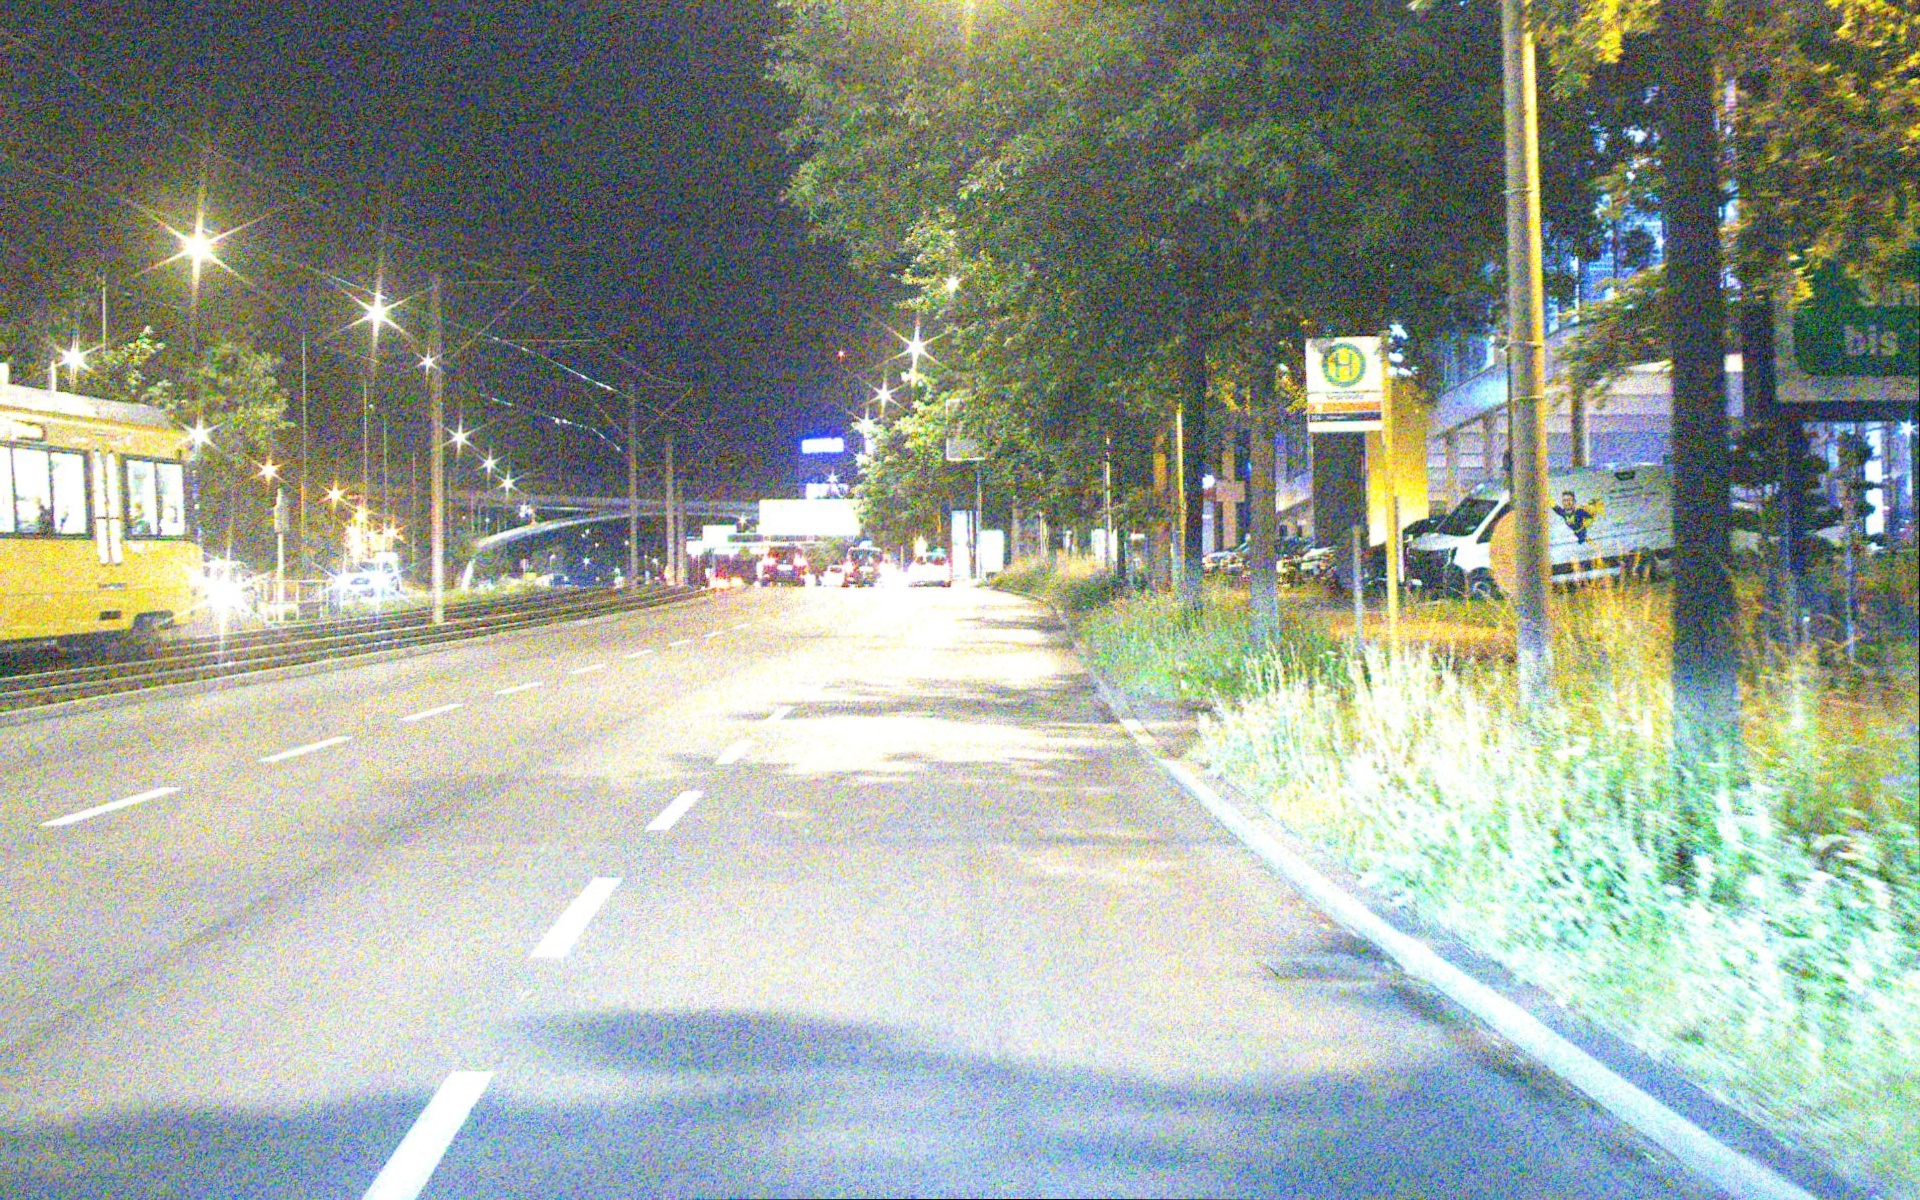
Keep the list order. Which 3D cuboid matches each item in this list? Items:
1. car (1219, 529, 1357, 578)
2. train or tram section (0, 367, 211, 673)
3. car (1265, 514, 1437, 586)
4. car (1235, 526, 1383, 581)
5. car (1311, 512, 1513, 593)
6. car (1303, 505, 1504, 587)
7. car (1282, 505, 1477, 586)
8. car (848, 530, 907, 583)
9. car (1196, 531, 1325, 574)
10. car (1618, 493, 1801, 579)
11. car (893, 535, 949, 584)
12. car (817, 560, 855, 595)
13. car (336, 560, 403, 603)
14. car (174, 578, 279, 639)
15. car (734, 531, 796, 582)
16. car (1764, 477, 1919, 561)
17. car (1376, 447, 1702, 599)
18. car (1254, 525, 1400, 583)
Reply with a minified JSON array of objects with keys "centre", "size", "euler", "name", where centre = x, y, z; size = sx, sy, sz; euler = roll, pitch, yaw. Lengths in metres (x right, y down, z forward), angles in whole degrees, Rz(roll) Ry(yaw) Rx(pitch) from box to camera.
[{"centre":[10.538,-1.513,110.416],"size":[3.986,1.387,1.827],"euler":[-3,2,-22],"name":"car"},{"centre":[-13.319,-1.029,44.814],"size":[2.758,3.814,18.670],"euler":[0,1,1],"name":"train or tram section"},{"centre":[10.369,-1.330,91.252],"size":[4.079,1.563,1.855],"euler":[-5,2,-11],"name":"car"},{"centre":[10.643,-1.428,104.984],"size":[4.022,1.369,1.826],"euler":[-5,1,-16],"name":"car"},{"centre":[10.541,-1.111,80.372],"size":[4.201,1.657,1.961],"euler":[-3,1,-11],"name":"car"},{"centre":[10.999,-1.350,85.400],"size":[4.459,1.804,2.001],"euler":[-3,1,-11],"name":"car"},{"centre":[10.743,-1.396,88.197],"size":[4.459,1.681,2.001],"euler":[-5,2,-11],"name":"car"},{"centre":[-3.320,-1.759,139.886],"size":[2.356,2.122,4.826],"euler":[0,0,-1],"name":"car"},{"centre":[10.363,-1.635,118.553],"size":[3.986,1.419,1.910],"euler":[-1,2,-18],"name":"car"},{"centre":[15.888,-1.333,73.058],"size":[1.805,1.706,3.968],"euler":[-2,0,-22],"name":"car"},{"centre":[-1.729,-1.768,151.684],"size":[2.427,2.106,4.826],"euler":[0,0,-1],"name":"car"},{"centre":[-6.574,-1.175,182.415],"size":[1.887,1.853,4.000],"euler":[0,0,-1],"name":"car"},{"centre":[-21.348,-0.663,124.391],"size":[1.660,1.511,3.910],"euler":[0,0,1],"name":"car"},{"centre":[-18.363,0.218,86.215],"size":[1.784,1.492,4.174],"euler":[0,-1,-1],"name":"car"},{"centre":[-7.733,-1.706,136.851],"size":[2.262,2.007,4.826],"euler":[0,0,-1],"name":"car"},{"centre":[19.319,-1.747,74.088],"size":[1.793,1.572,3.968],"euler":[-6,2,-22],"name":"car"},{"centre":[11.856,-1.584,70.455],"size":[6.015,2.520,2.284],"euler":[-6,2,-17],"name":"car"},{"centre":[10.640,-1.343,99.743],"size":[3.801,1.448,1.718],"euler":[-4,1,-14],"name":"car"}]
